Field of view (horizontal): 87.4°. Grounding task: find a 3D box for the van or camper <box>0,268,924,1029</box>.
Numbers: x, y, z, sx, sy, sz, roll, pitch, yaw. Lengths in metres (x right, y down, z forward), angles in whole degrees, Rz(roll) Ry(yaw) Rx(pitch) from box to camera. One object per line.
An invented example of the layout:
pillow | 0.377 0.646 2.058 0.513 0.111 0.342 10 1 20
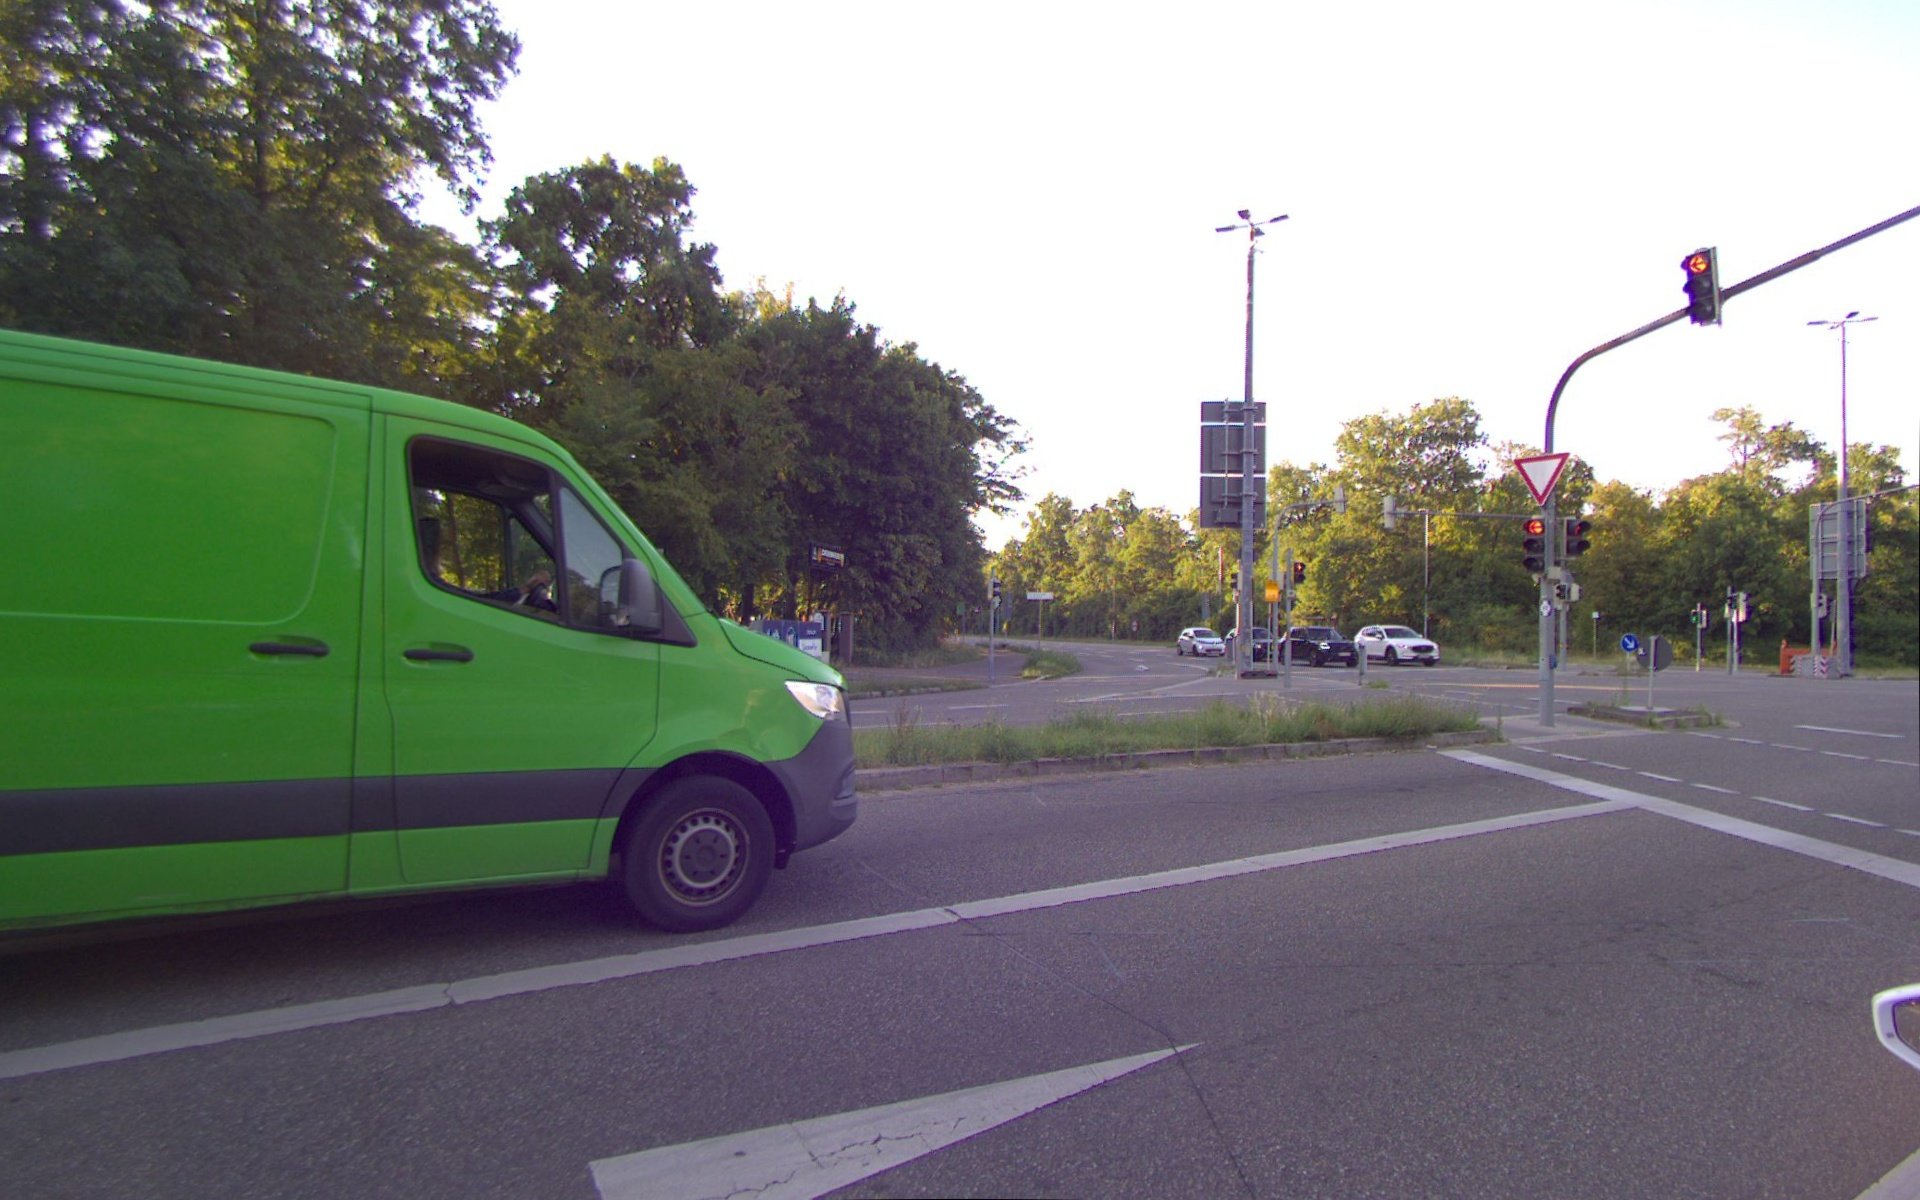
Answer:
van or camper | -3.182 0.179 4.344 5.828 2.453 1.984 1 -1 -31

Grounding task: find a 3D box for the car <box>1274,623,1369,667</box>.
car | 14.718 1.805 41.157 1.963 1.661 4.252 1 -1 -8

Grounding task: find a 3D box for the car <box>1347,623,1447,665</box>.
car | 18.408 1.834 42.556 1.963 1.661 4.252 1 -1 -8

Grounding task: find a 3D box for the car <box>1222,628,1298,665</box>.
car | 14.424 2.218 48.507 1.963 1.661 4.252 1 -1 -8

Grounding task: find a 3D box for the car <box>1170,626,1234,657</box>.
car | 13.584 2.327 56.652 1.964 1.661 4.250 1 -1 -10
